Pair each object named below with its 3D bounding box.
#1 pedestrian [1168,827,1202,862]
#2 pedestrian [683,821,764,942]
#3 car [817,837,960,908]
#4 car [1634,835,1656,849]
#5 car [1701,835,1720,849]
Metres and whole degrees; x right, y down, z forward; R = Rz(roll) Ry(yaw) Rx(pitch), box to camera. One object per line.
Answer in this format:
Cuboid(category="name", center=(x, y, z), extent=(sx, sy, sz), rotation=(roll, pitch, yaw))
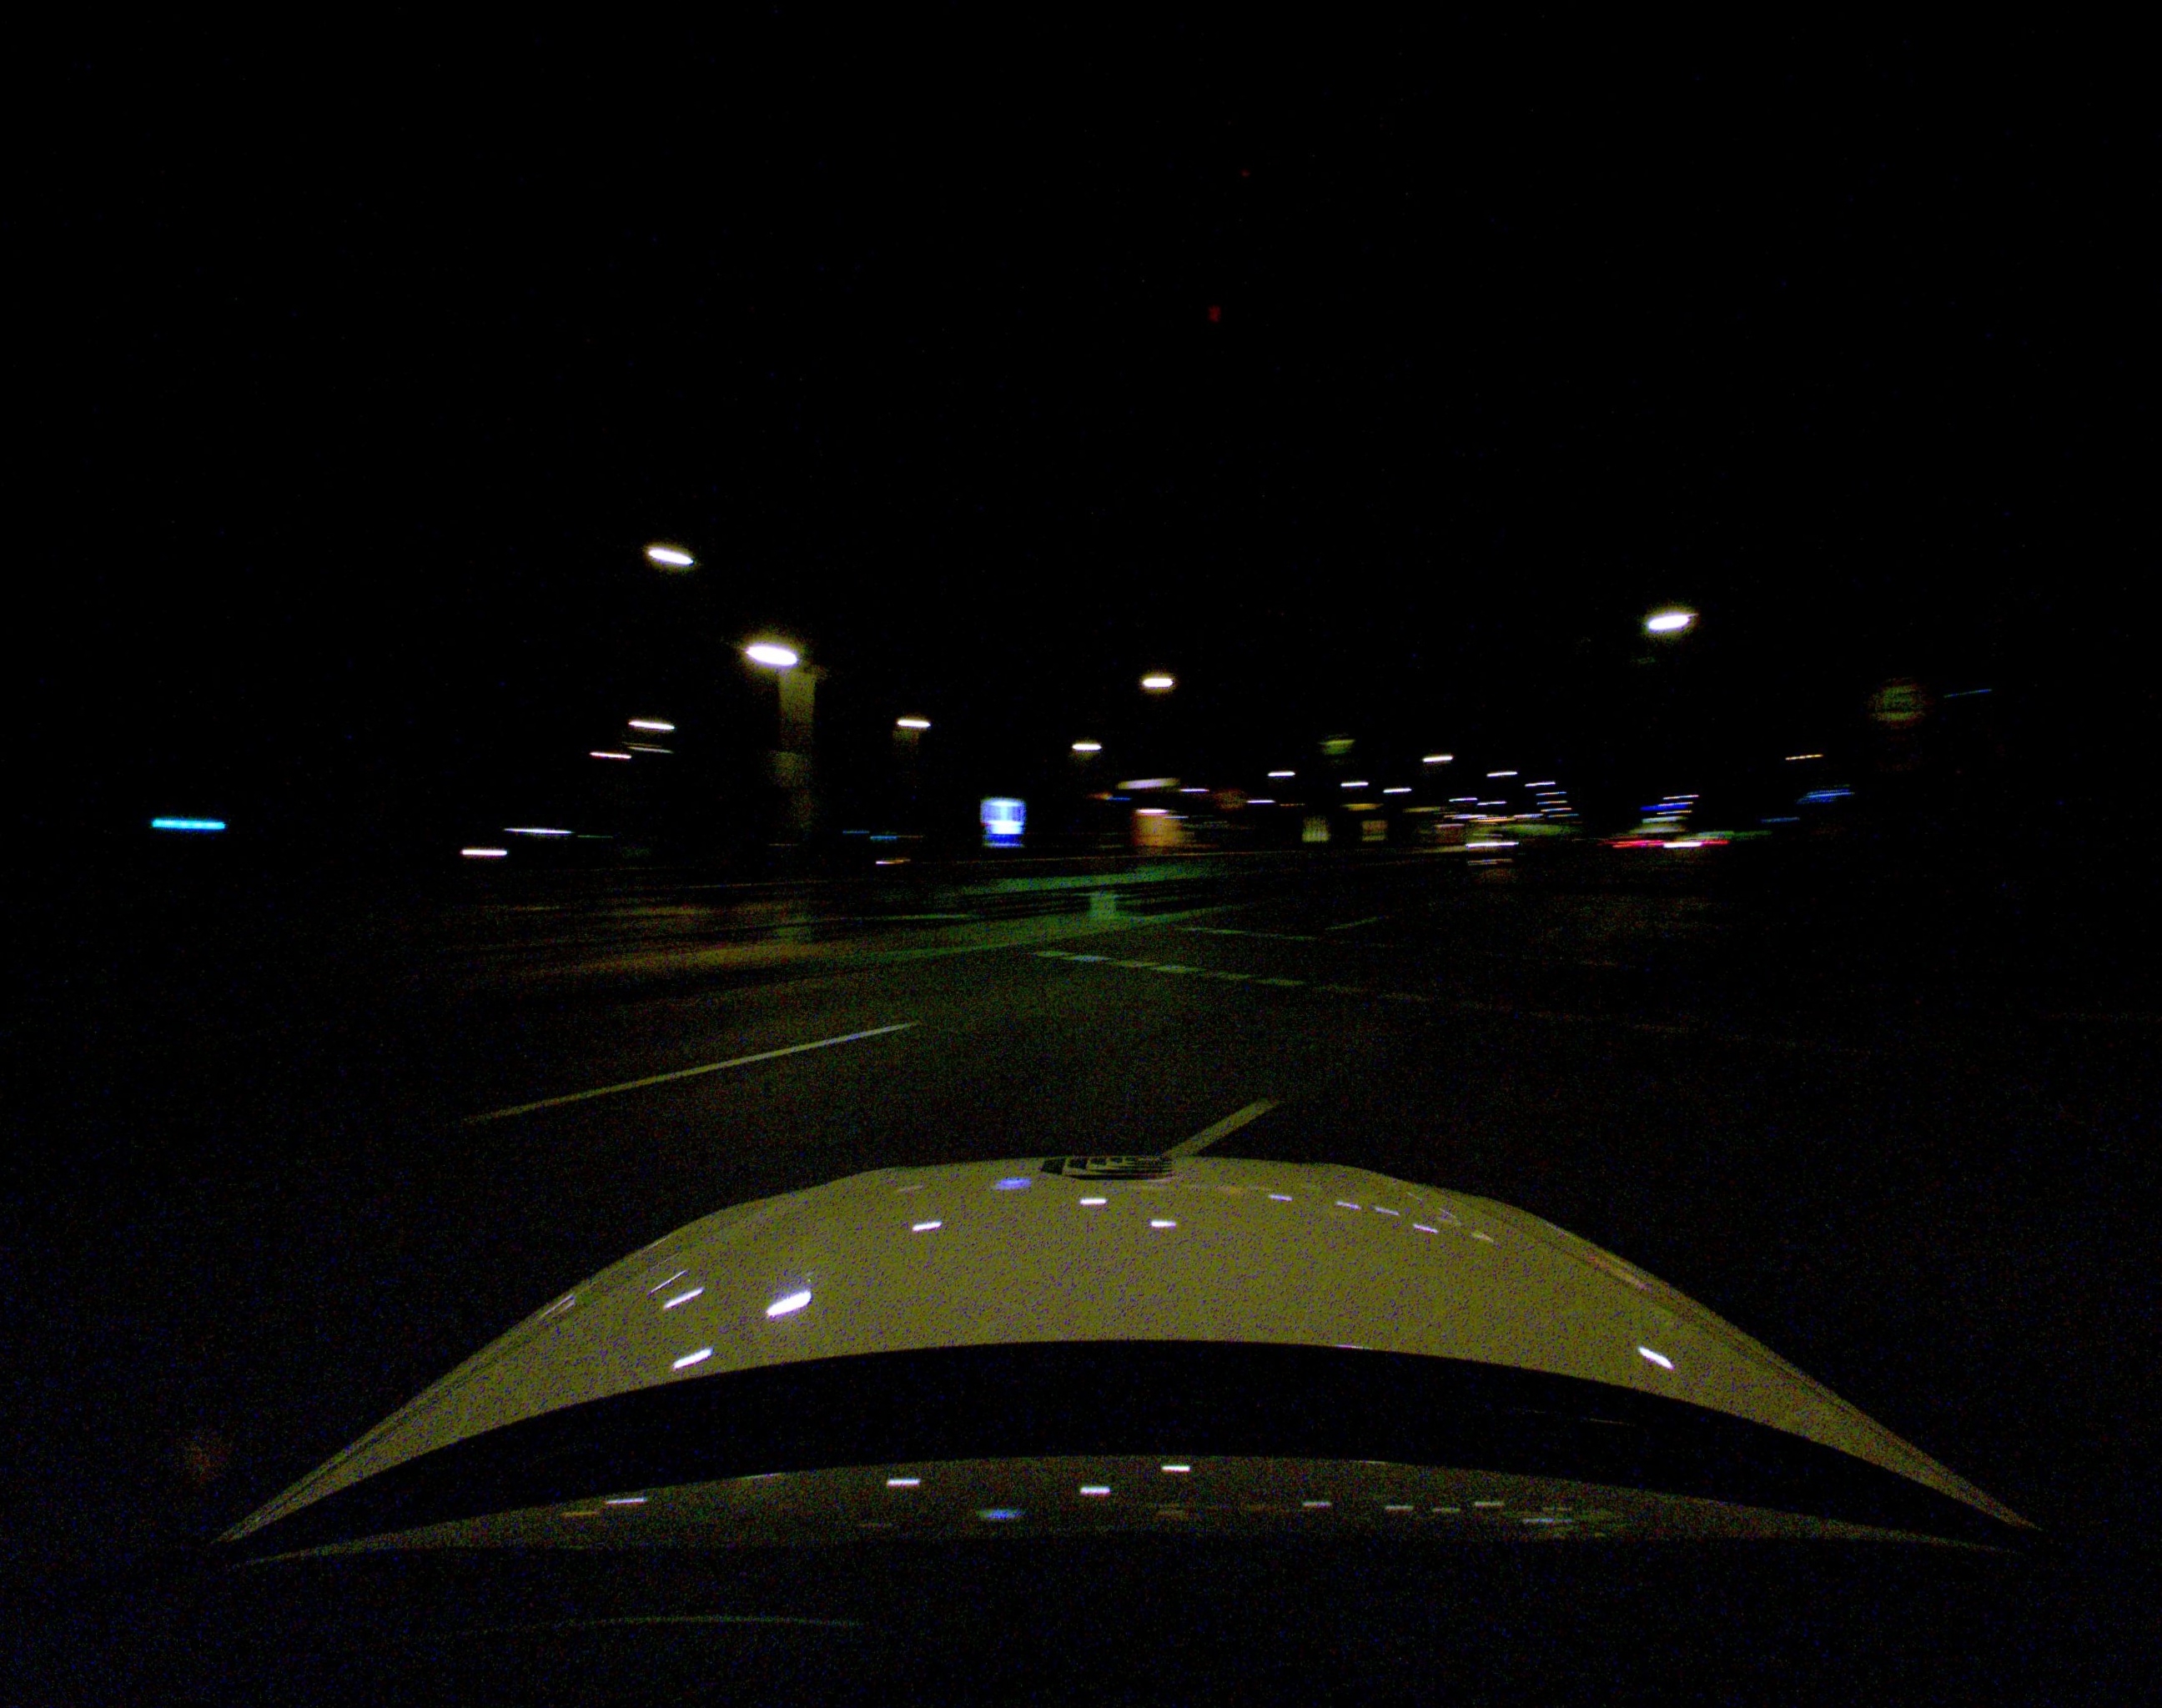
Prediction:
Cuboid(category="pedestrian", center=(4.589, -0.409, 35.915), extent=(1.144, 1.500, 1.072), rotation=(-1, 0, -15))
Cuboid(category="pedestrian", center=(-5.422, 0.390, 12.365), extent=(0.823, 1.744, 0.762), rotation=(0, 3, 35))
Cuboid(category="car", center=(-6.153, 0.536, 26.367), extent=(1.974, 2.013, 4.026), rotation=(-2, 1, 40))
Cuboid(category="car", center=(69.324, -1.511, 100.110), extent=(1.840, 1.659, 4.488), rotation=(2, 1, 39))
Cuboid(category="car", center=(81.273, -1.541, 105.187), extent=(1.787, 1.662, 4.026), rotation=(3, 4, 37))
